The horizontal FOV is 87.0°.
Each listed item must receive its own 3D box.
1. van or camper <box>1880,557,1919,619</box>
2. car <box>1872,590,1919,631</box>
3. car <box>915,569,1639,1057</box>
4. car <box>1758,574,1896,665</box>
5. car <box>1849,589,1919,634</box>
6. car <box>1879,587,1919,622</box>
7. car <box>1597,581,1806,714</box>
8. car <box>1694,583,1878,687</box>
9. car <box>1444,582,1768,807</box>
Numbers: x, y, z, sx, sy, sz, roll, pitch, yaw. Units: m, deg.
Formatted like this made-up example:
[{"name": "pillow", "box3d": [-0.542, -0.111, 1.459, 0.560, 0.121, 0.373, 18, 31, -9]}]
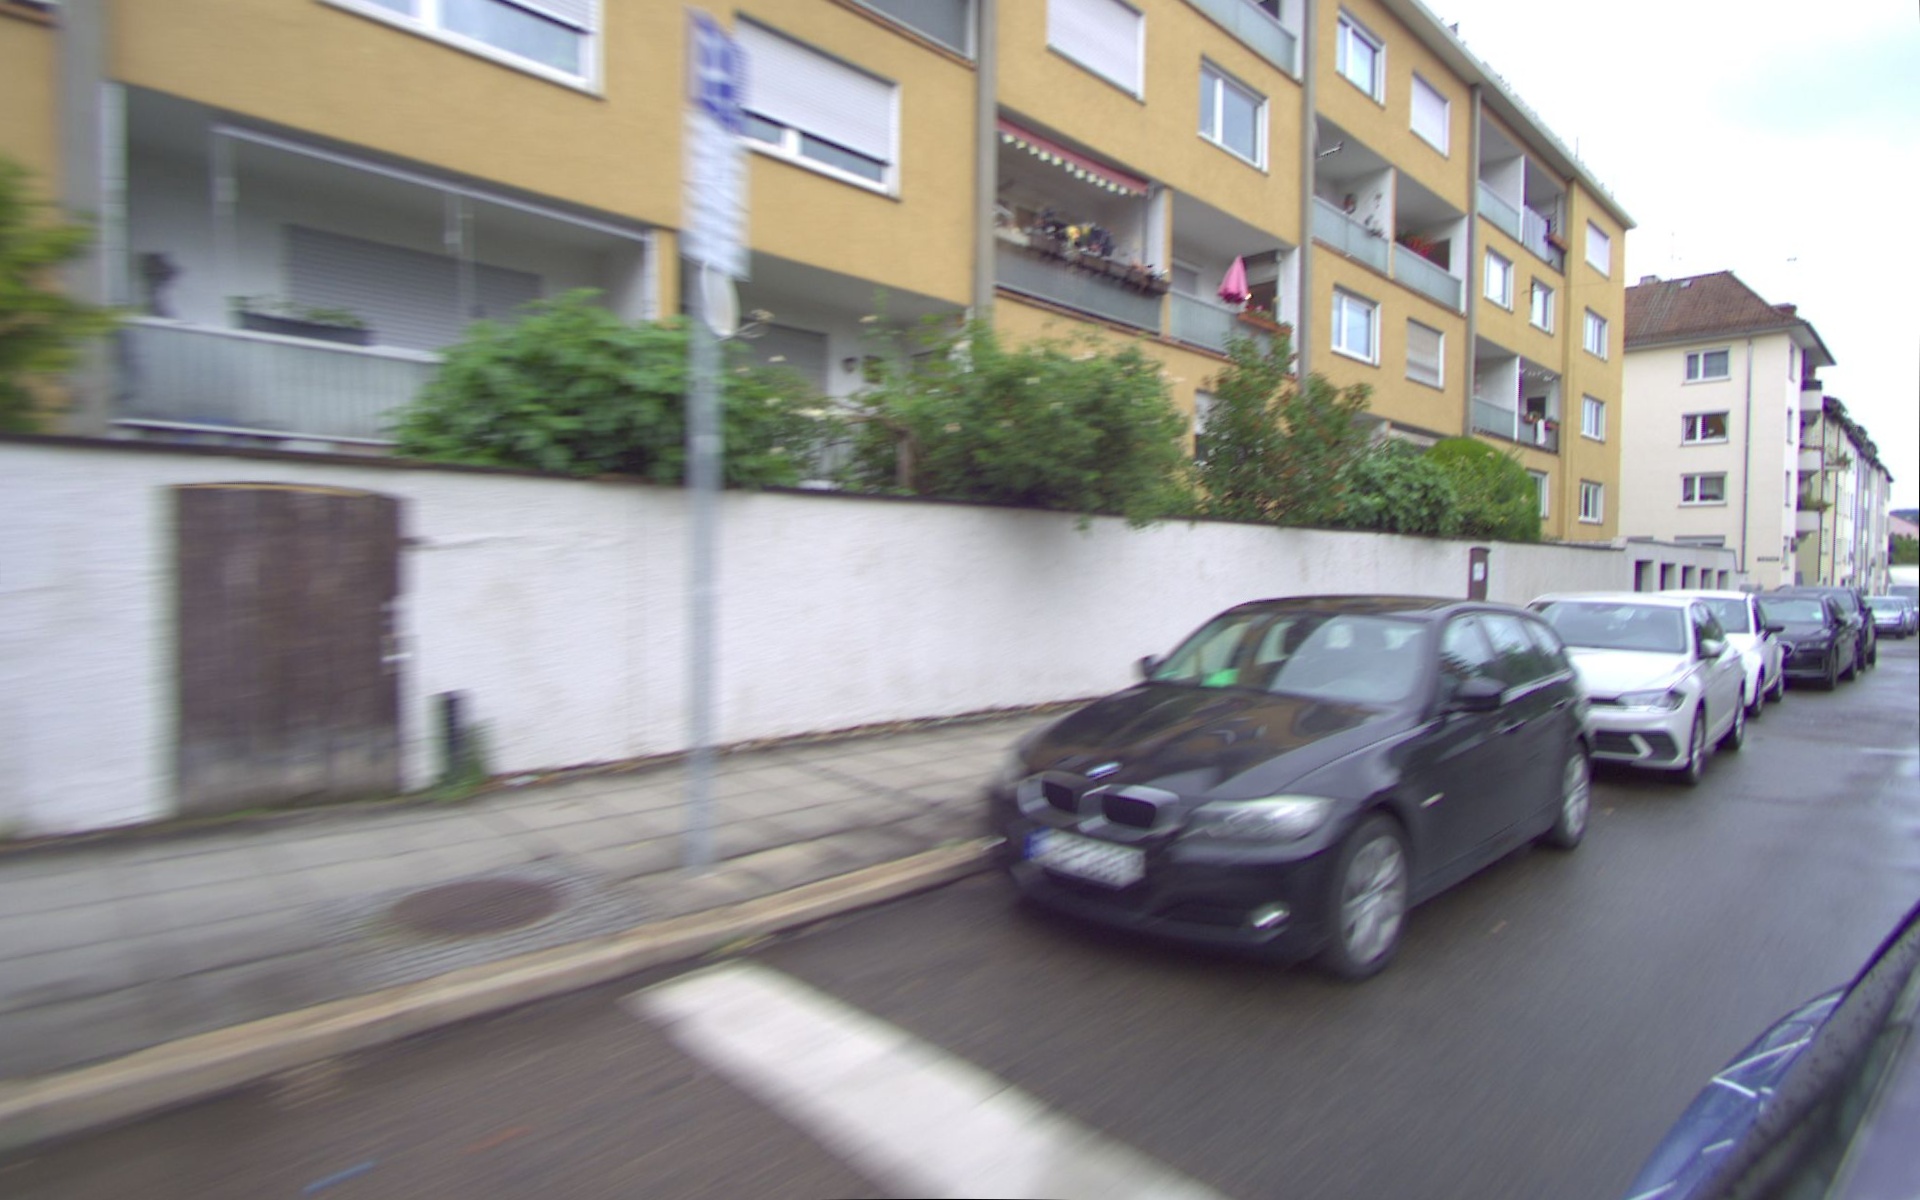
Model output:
[{"name": "van or camper", "box3d": [50.157, -0.687, 52.743, 6.914, 3.096, 2.750, -2, 2, -43]}, {"name": "car", "box3d": [36.220, 0.369, 38.712, 3.906, 1.395, 1.737, -2, 2, -45]}, {"name": "car", "box3d": [1.973, 0.585, 5.239, 4.406, 1.478, 1.731, -2, 2, -45]}, {"name": "car", "box3d": [18.042, 0.300, 20.995, 4.502, 1.667, 1.802, -2, 2, -45]}, {"name": "car", "box3d": [32.082, 0.355, 34.995, 3.776, 1.395, 1.737, -2, 2, -45]}, {"name": "car", "box3d": [41.363, 0.189, 44.112, 3.448, 1.449, 1.737, -1, 2, -45]}, {"name": "car", "box3d": [9.780, 0.498, 13.268, 3.496, 1.471, 1.687, -2, 2, -45]}, {"name": "car", "box3d": [13.738, 0.464, 16.742, 4.379, 1.444, 1.912, -2, 2, -45]}, {"name": "car", "box3d": [5.799, 0.602, 8.866, 1.648, 1.478, 4.038, 1, 2, 44]}]
